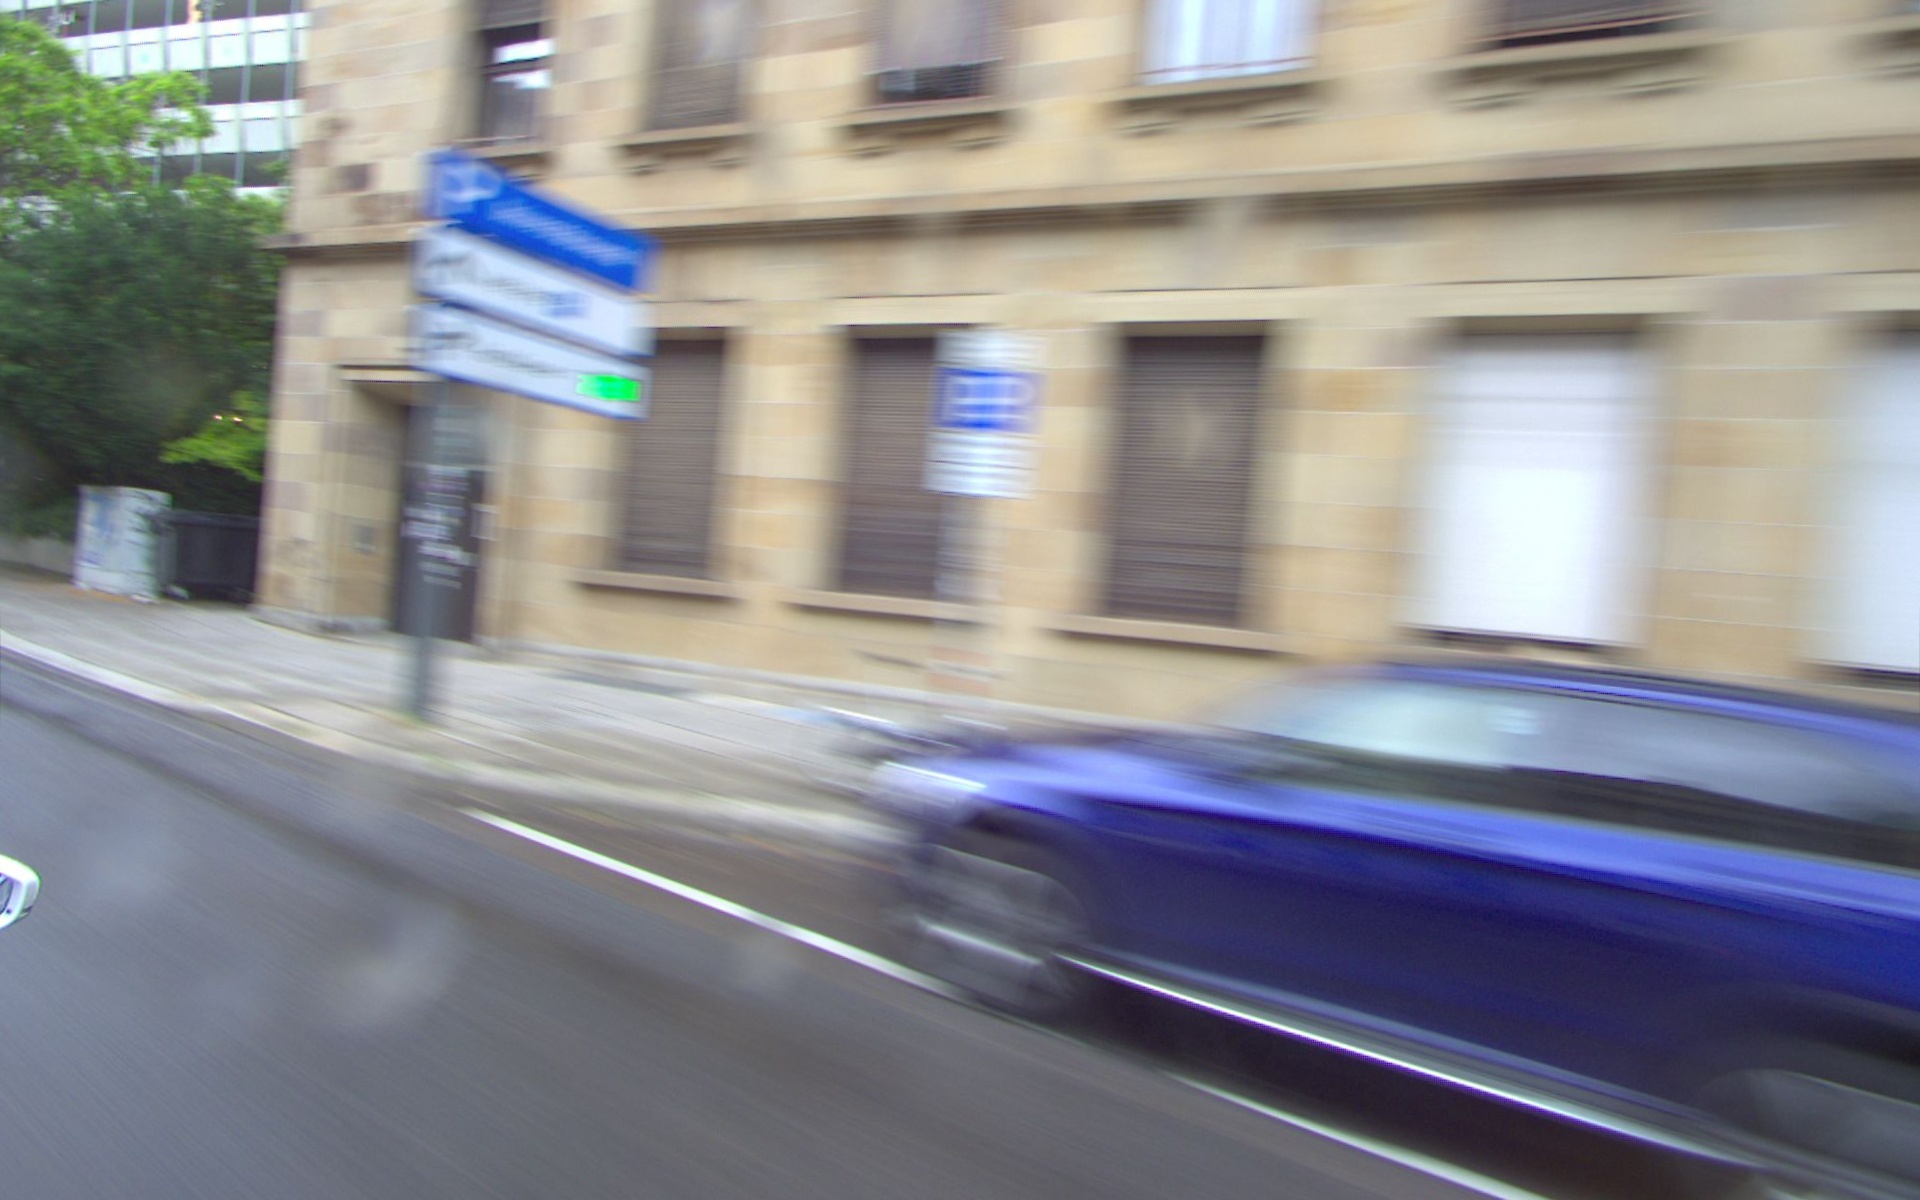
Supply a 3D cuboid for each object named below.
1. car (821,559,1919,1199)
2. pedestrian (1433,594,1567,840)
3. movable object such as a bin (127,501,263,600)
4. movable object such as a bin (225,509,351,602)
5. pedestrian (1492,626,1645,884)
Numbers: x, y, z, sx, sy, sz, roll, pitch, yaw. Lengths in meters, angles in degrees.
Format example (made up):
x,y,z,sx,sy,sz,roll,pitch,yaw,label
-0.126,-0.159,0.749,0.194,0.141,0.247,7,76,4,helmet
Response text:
x,y,z,sx,sy,sz,roll,pitch,yaw,label
1.669,0.871,4.116,4.087,1.639,1.771,6,0,30,car
3.849,0.807,7.211,0.662,1.623,0.525,6,1,27,pedestrian
-11.435,-0.731,15.051,1.213,1.328,1.239,7,3,32,movable object such as a bin
-10.757,-0.705,16.116,1.213,1.328,1.239,7,3,32,movable object such as a bin
3.898,0.961,6.494,0.662,1.511,0.525,6,1,27,pedestrian
